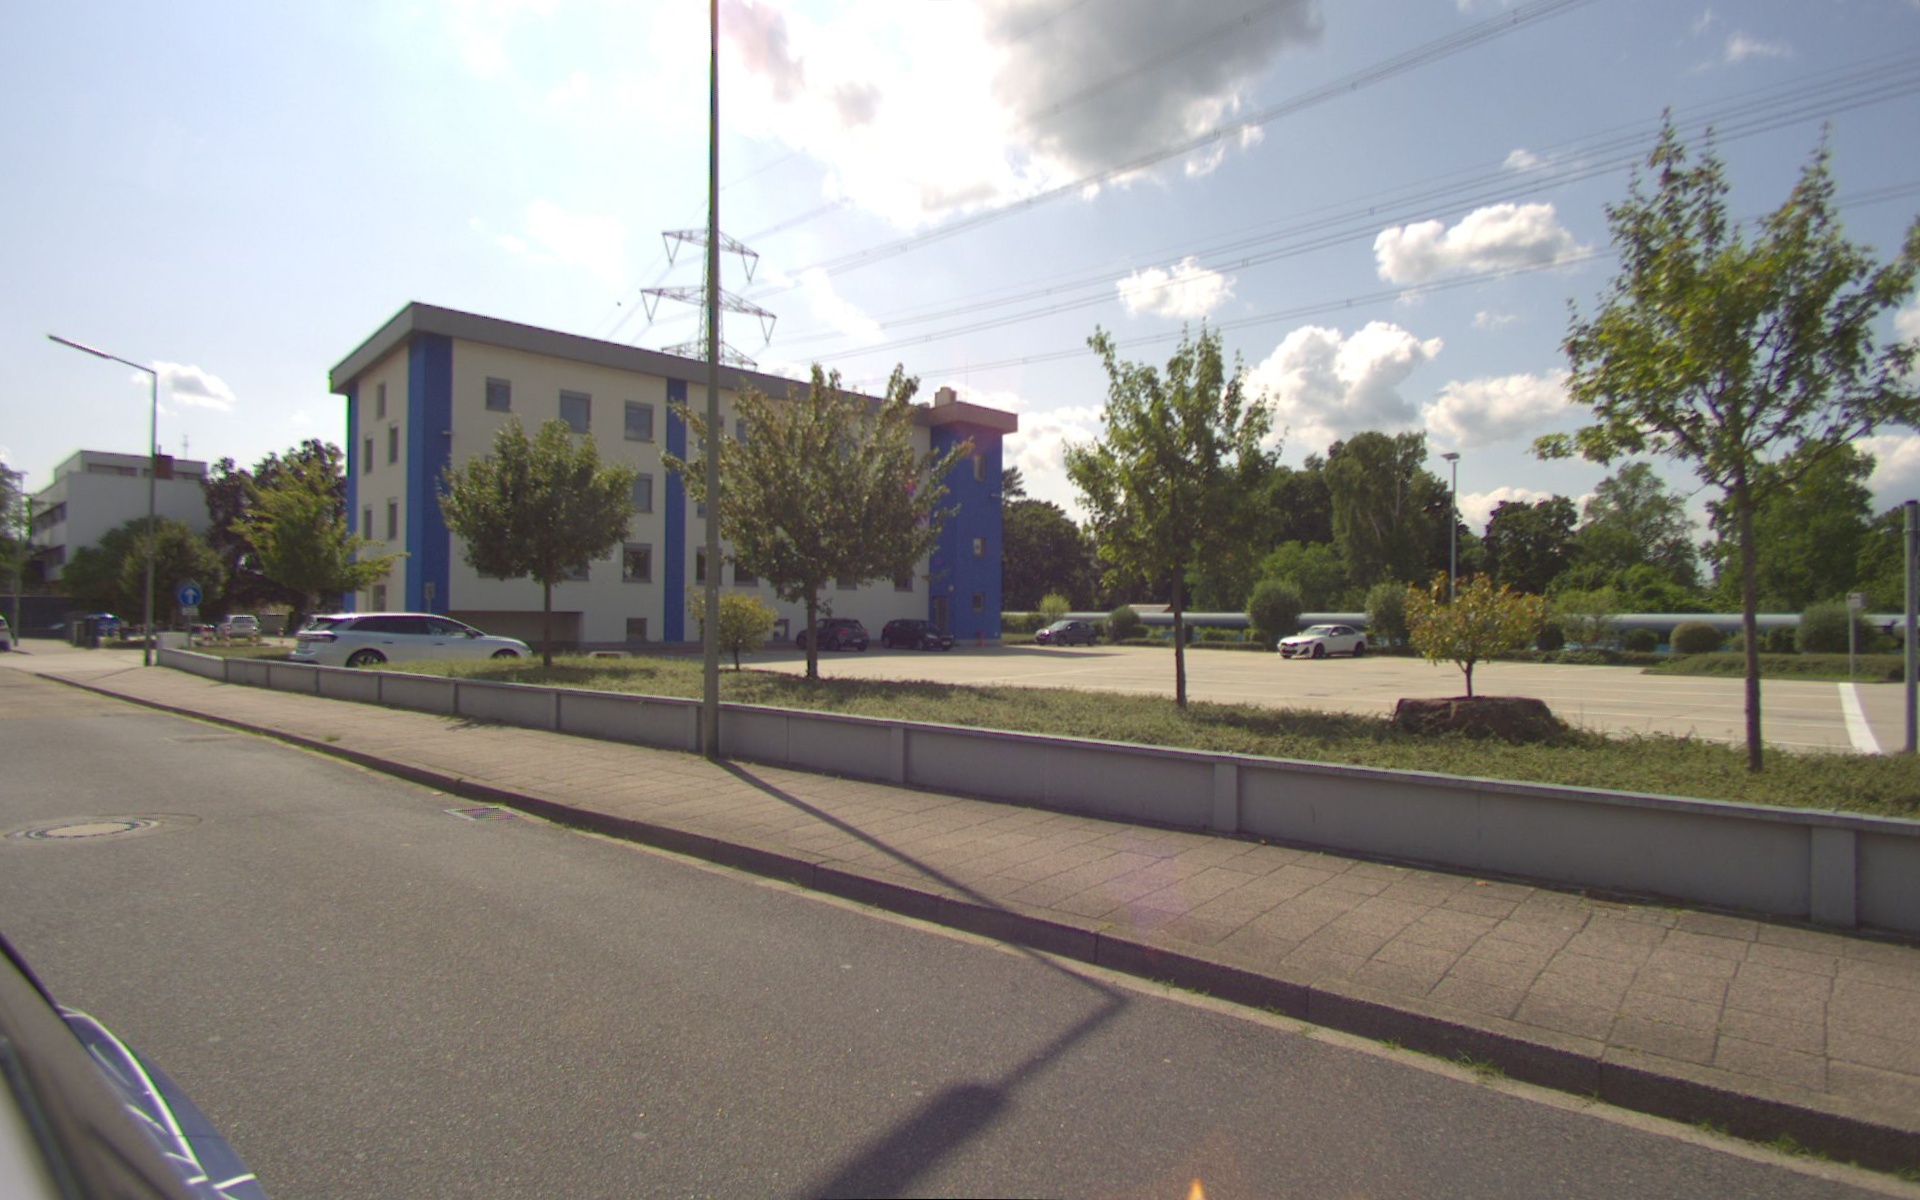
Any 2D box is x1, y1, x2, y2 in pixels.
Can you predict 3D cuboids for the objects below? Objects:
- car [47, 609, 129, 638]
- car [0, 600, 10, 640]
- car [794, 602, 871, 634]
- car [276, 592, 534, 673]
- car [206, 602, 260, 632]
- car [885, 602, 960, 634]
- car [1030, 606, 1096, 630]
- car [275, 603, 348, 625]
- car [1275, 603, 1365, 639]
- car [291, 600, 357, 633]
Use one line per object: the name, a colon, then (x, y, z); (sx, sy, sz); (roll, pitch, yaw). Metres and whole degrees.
car: (-54.119, 1.440, 62.846); (1.877, 1.721, 3.610); (0, 0, 40)
car: (-43.733, 0.865, 44.852); (4.750, 1.721, 1.848); (0, 1, 41)
car: (-5.833, 0.808, 46.072); (1.544, 1.386, 3.682); (0, 0, -45)
car: (-12.368, 0.642, 22.803); (1.999, 1.614, 4.705); (0, 0, 41)
car: (-41.713, 0.949, 58.020); (1.803, 1.649, 4.849); (1, 0, -44)
car: (-1.836, 0.852, 48.844); (1.544, 1.386, 3.683); (0, 1, -45)
car: (5.856, 1.003, 57.605); (3.553, 1.261, 1.806); (0, 0, -41)
car: (-46.211, 1.022, 72.154); (4.150, 1.513, 1.682); (1, 0, -45)
car: (15.396, 0.875, 43.245); (3.763, 1.485, 1.808); (0, 0, -36)
car: (-30.813, 0.772, 49.022); (3.759, 1.518, 1.852); (0, 0, 44)
